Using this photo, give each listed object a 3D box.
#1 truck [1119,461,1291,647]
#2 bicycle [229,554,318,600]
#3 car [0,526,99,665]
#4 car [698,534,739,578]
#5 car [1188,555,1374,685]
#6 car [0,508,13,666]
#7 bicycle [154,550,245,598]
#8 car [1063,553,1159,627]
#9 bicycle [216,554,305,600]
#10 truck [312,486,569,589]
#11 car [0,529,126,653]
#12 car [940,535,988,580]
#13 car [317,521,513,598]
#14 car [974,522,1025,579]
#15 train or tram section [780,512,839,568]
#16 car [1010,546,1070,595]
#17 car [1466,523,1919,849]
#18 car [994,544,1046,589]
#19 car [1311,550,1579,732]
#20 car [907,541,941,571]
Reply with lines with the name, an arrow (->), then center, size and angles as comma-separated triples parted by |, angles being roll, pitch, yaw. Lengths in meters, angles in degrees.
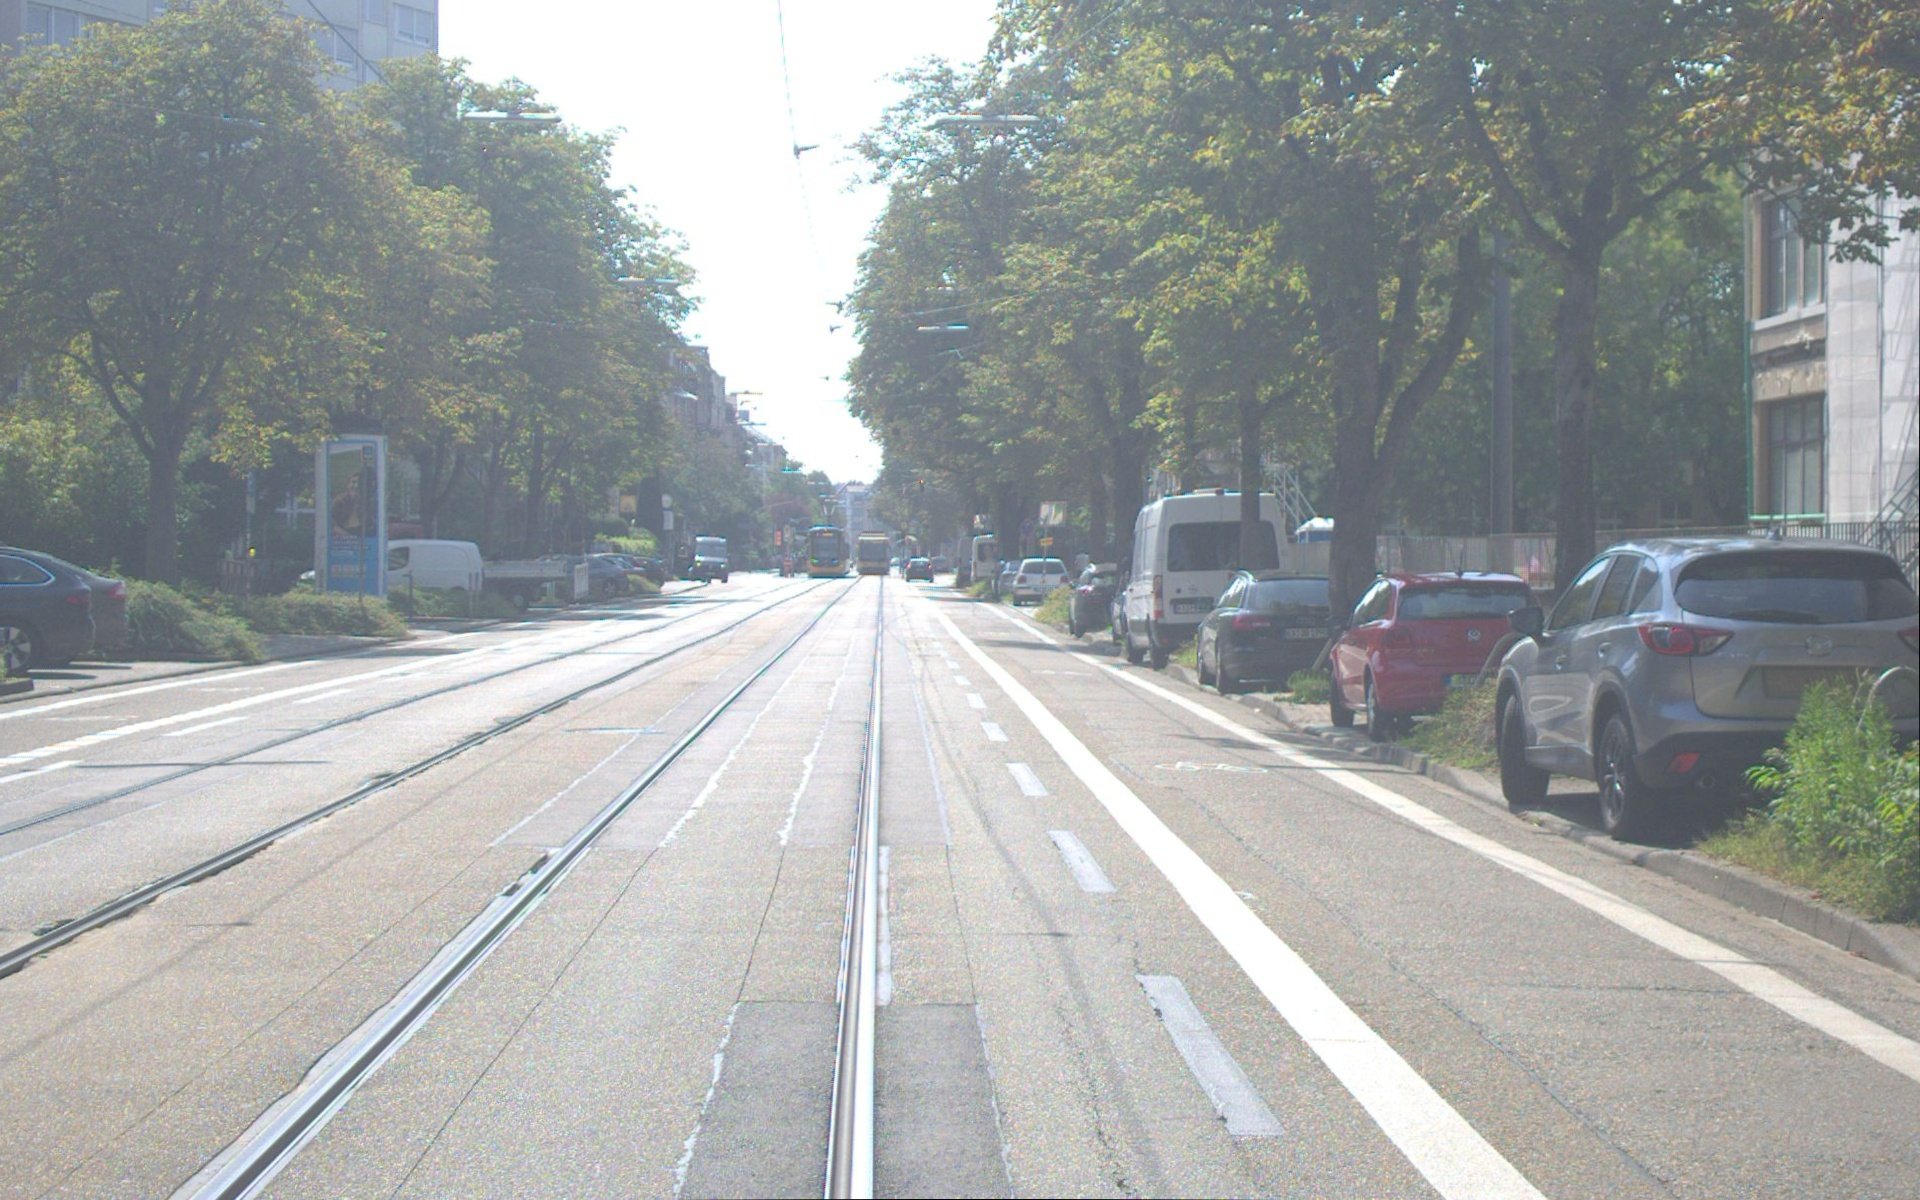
truck -> 3.583, -0.673, 51.230 | 1.916, 2.590, 5.593 | 1, 0, -2
bicycle -> -18.935, -0.630, 94.788 | 2.340, 1.165, 0.621 | 2, 0, 16
car -> -11.972, -0.076, 38.943 | 3.986, 1.564, 1.781 | 0, 1, -28
car -> -13.703, -2.471, 195.130 | 2.241, 2.433, 4.001 | 1, 0, -5
car -> 3.757, 0.201, 40.928 | 1.685, 1.435, 4.803 | 1, 1, -1
car -> -12.087, -0.174, 35.901 | 3.986, 1.642, 1.842 | 1, 1, -24
bicycle -> -20.124, -0.689, 90.984 | 2.341, 1.165, 0.601 | 2, 0, 19
car -> 3.072, -0.235, 70.467 | 1.674, 1.453, 4.664 | 0, 1, -1
bicycle -> -19.132, -0.640, 94.048 | 2.340, 1.165, 0.621 | 2, 0, 17
truck -> -12.727, -1.533, 84.507 | 5.951, 2.426, 2.150 | 0, 2, -40
car -> -12.605, -0.133, 42.196 | 4.281, 1.492, 1.781 | 0, 1, -27
car -> 0.196, -2.122, 172.177 | 1.993, 2.226, 4.001 | 0, 1, -6
car -> -12.792, -0.942, 80.783 | 4.274, 1.766, 1.824 | 0, 1, -44
car -> 1.646, -2.087, 145.362 | 1.993, 2.357, 4.000 | 1, 0, -1
train or tram section -> -10.315, -4.117, 236.132 | 3.497, 3.691, 12.413 | 1, 1, 0
car -> 2.415, -0.900, 103.840 | 1.791, 1.441, 3.733 | -1, 0, 1
car -> 4.302, 0.416, 20.277 | 1.762, 1.683, 4.649 | 1, 1, -2
car -> 2.038, -1.133, 117.462 | 1.640, 1.506, 3.641 | 1, 0, -1
car -> 4.264, 0.326, 30.776 | 1.685, 1.495, 4.132 | 1, 0, -2
car -> -2.237, -2.730, 212.260 | 1.993, 1.795, 4.000 | 1, 0, -1
